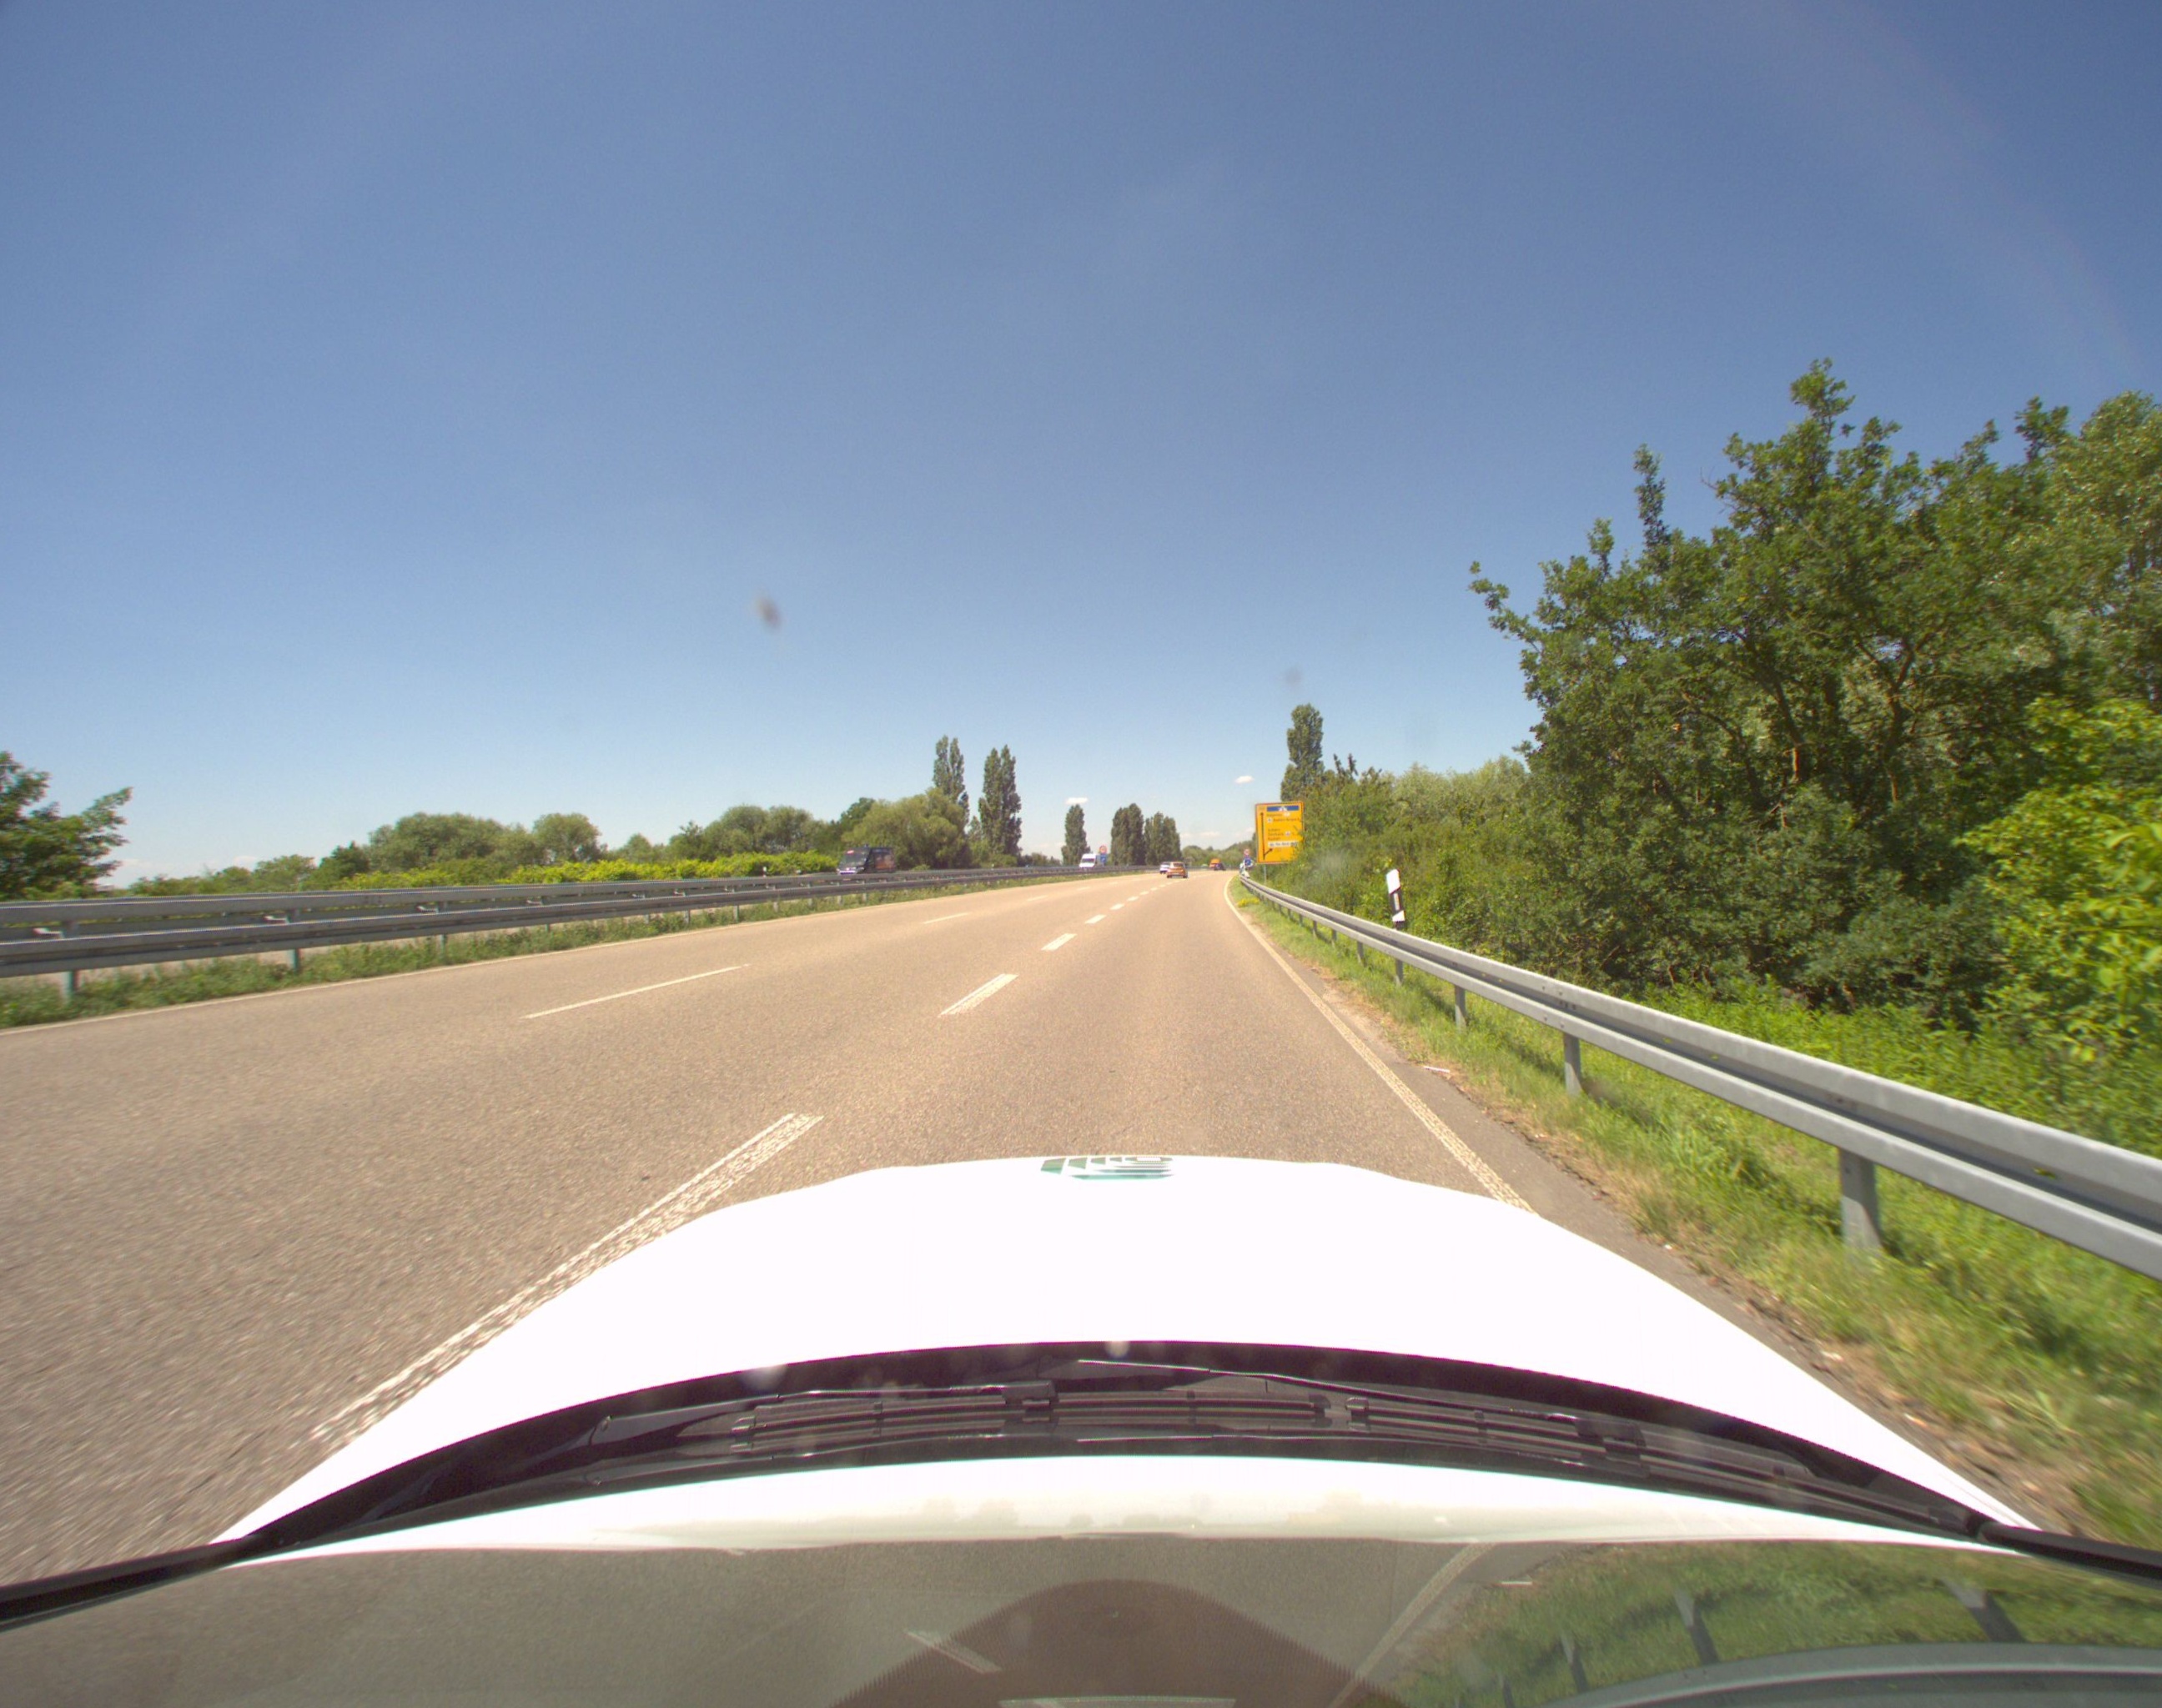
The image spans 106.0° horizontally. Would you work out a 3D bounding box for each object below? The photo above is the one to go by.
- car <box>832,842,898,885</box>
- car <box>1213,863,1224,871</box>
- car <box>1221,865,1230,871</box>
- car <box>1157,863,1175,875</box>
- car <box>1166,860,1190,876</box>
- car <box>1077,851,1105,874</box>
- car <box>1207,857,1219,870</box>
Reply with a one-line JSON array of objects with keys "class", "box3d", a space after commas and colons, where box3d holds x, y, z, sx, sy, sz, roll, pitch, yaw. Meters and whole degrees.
[{"class": "car", "box3d": [-14.060, 0.688, 53.384, 2.191, 2.638, 5.637, -1, -2, 8]}, {"class": "car", "box3d": [26.861, 2.509, 158.805, 1.931, 1.464, 4.013, 0, 0, 12]}, {"class": "car", "box3d": [41.575, 3.990, 234.216, 1.838, 1.818, 4.815, -1, -2, 16]}, {"class": "car", "box3d": [10.651, 1.834, 102.122, 1.829, 1.451, 4.013, 0, 0, 12]}, {"class": "car", "box3d": [8.996, 1.271, 75.133, 1.829, 1.464, 4.013, 0, 0, 12]}, {"class": "car", "box3d": [1.352, 1.139, 106.544, 2.264, 2.774, 7.244, -1, -2, 12]}, {"class": "car", "box3d": [35.046, 2.628, 215.986, 2.288, 3.292, 7.057, -1, -1, 16]}]
